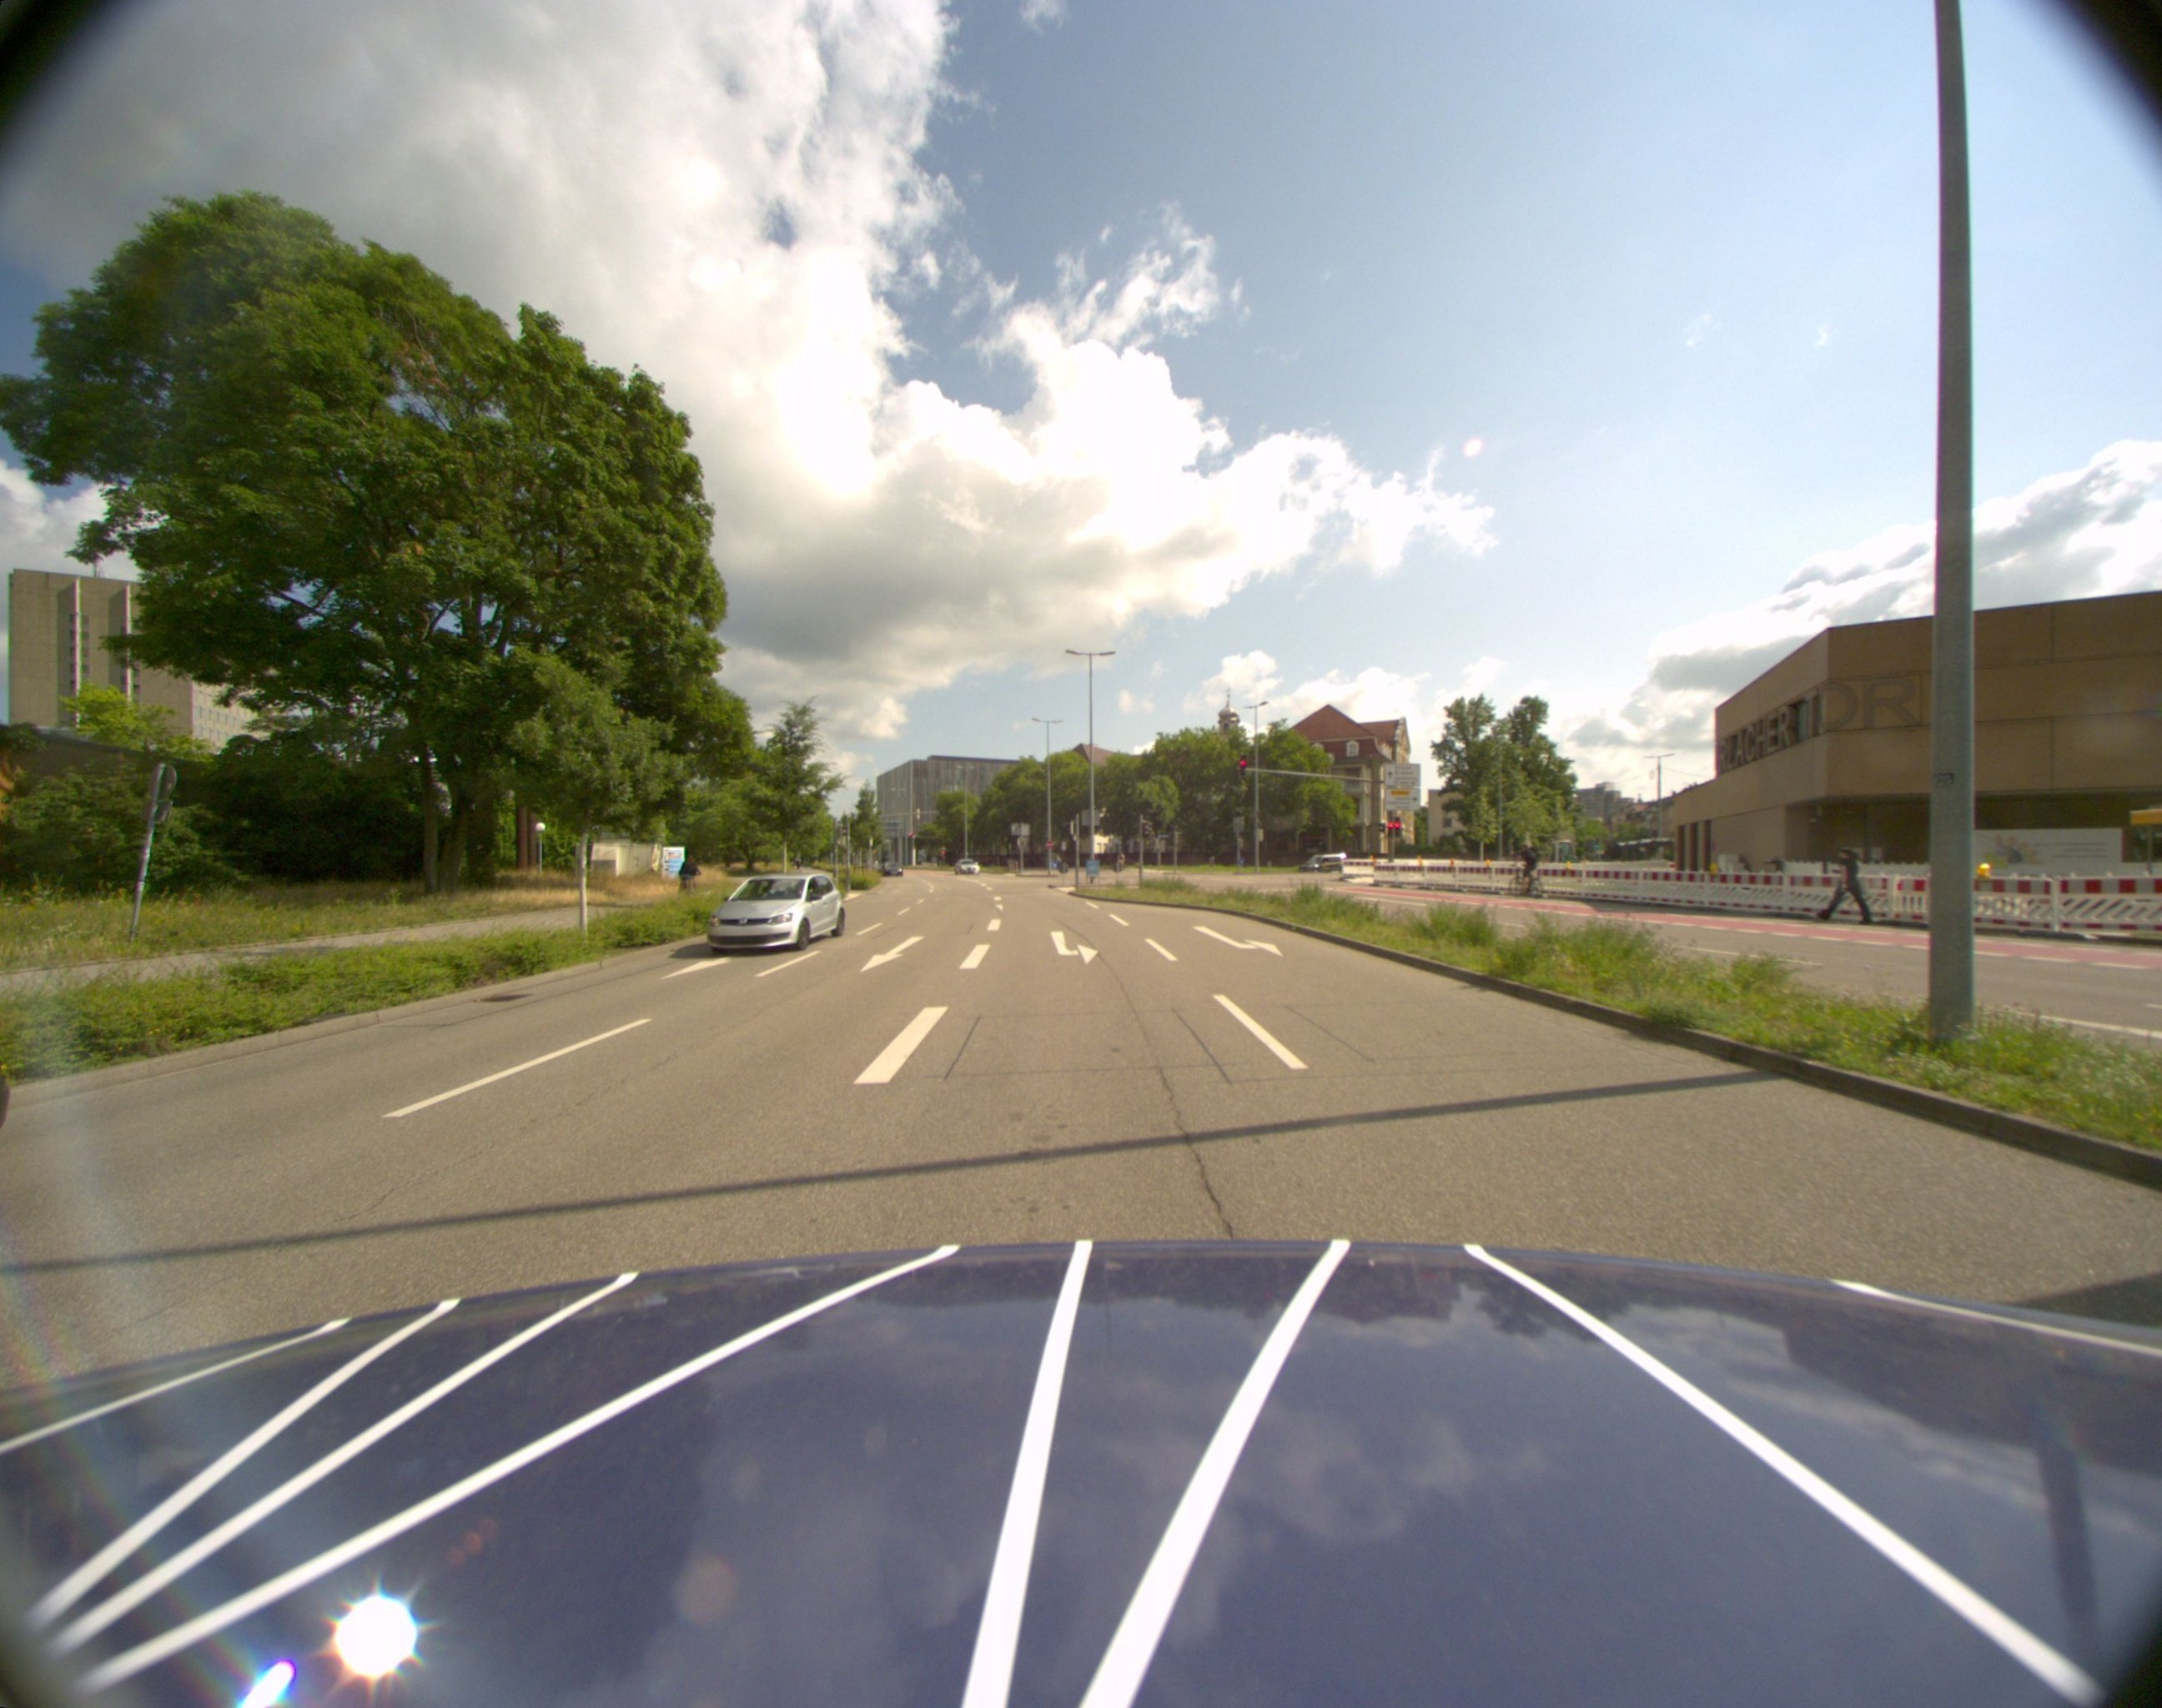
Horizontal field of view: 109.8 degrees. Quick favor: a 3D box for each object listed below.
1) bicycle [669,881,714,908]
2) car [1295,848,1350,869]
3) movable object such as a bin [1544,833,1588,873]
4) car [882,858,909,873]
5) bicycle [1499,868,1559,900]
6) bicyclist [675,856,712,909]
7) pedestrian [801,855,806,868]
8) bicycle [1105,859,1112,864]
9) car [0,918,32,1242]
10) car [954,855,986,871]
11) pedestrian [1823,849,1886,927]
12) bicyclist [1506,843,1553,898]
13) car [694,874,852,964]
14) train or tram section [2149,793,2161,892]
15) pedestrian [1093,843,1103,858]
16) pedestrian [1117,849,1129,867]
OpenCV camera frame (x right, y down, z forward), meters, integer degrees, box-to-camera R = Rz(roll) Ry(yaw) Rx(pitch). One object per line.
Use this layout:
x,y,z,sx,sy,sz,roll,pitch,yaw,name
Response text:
-12.934,1.339,25.271,0.626,0.806,1.788,1,0,-2,bicycle
21.851,0.429,68.710,4.677,1.774,1.851,0,-1,-24,car
37.041,-0.066,58.177,1.995,2.932,4.458,1,0,21,movable object such as a bin
-17.708,1.108,72.523,2.002,1.369,4.153,1,0,-21,car
15.148,0.998,25.753,0.618,0.996,2.017,-1,0,-8,bicycle
-12.911,0.928,25.324,0.738,1.692,0.965,1,1,-2,bicyclist
-34.757,0.977,95.108,0.543,1.597,0.523,0,-2,-29,pedestrian
4.113,1.114,113.164,0.481,0.843,0.975,1,0,43,bicycle
-5.928,1.082,1.509,1.810,1.499,4.204,-2,0,0,car
-11.004,0.892,75.077,2.064,1.434,4.771,-2,1,-21,car
16.919,0.722,16.638,0.738,1.671,0.640,0,1,-3,pedestrian
15.127,0.545,25.664,0.813,1.812,1.158,-1,1,-9,bicyclist
-5.897,1.172,15.083,1.655,1.433,4.004,-1,0,-3,car
37.224,-0.391,21.763,2.623,3.543,12.437,0,0,29,train or tram section
1.973,-0.391,88.884,0.751,1.770,0.963,-1,1,-37,pedestrian
4.310,0.430,77.852,0.697,1.846,1.183,-2,-1,27,pedestrian
